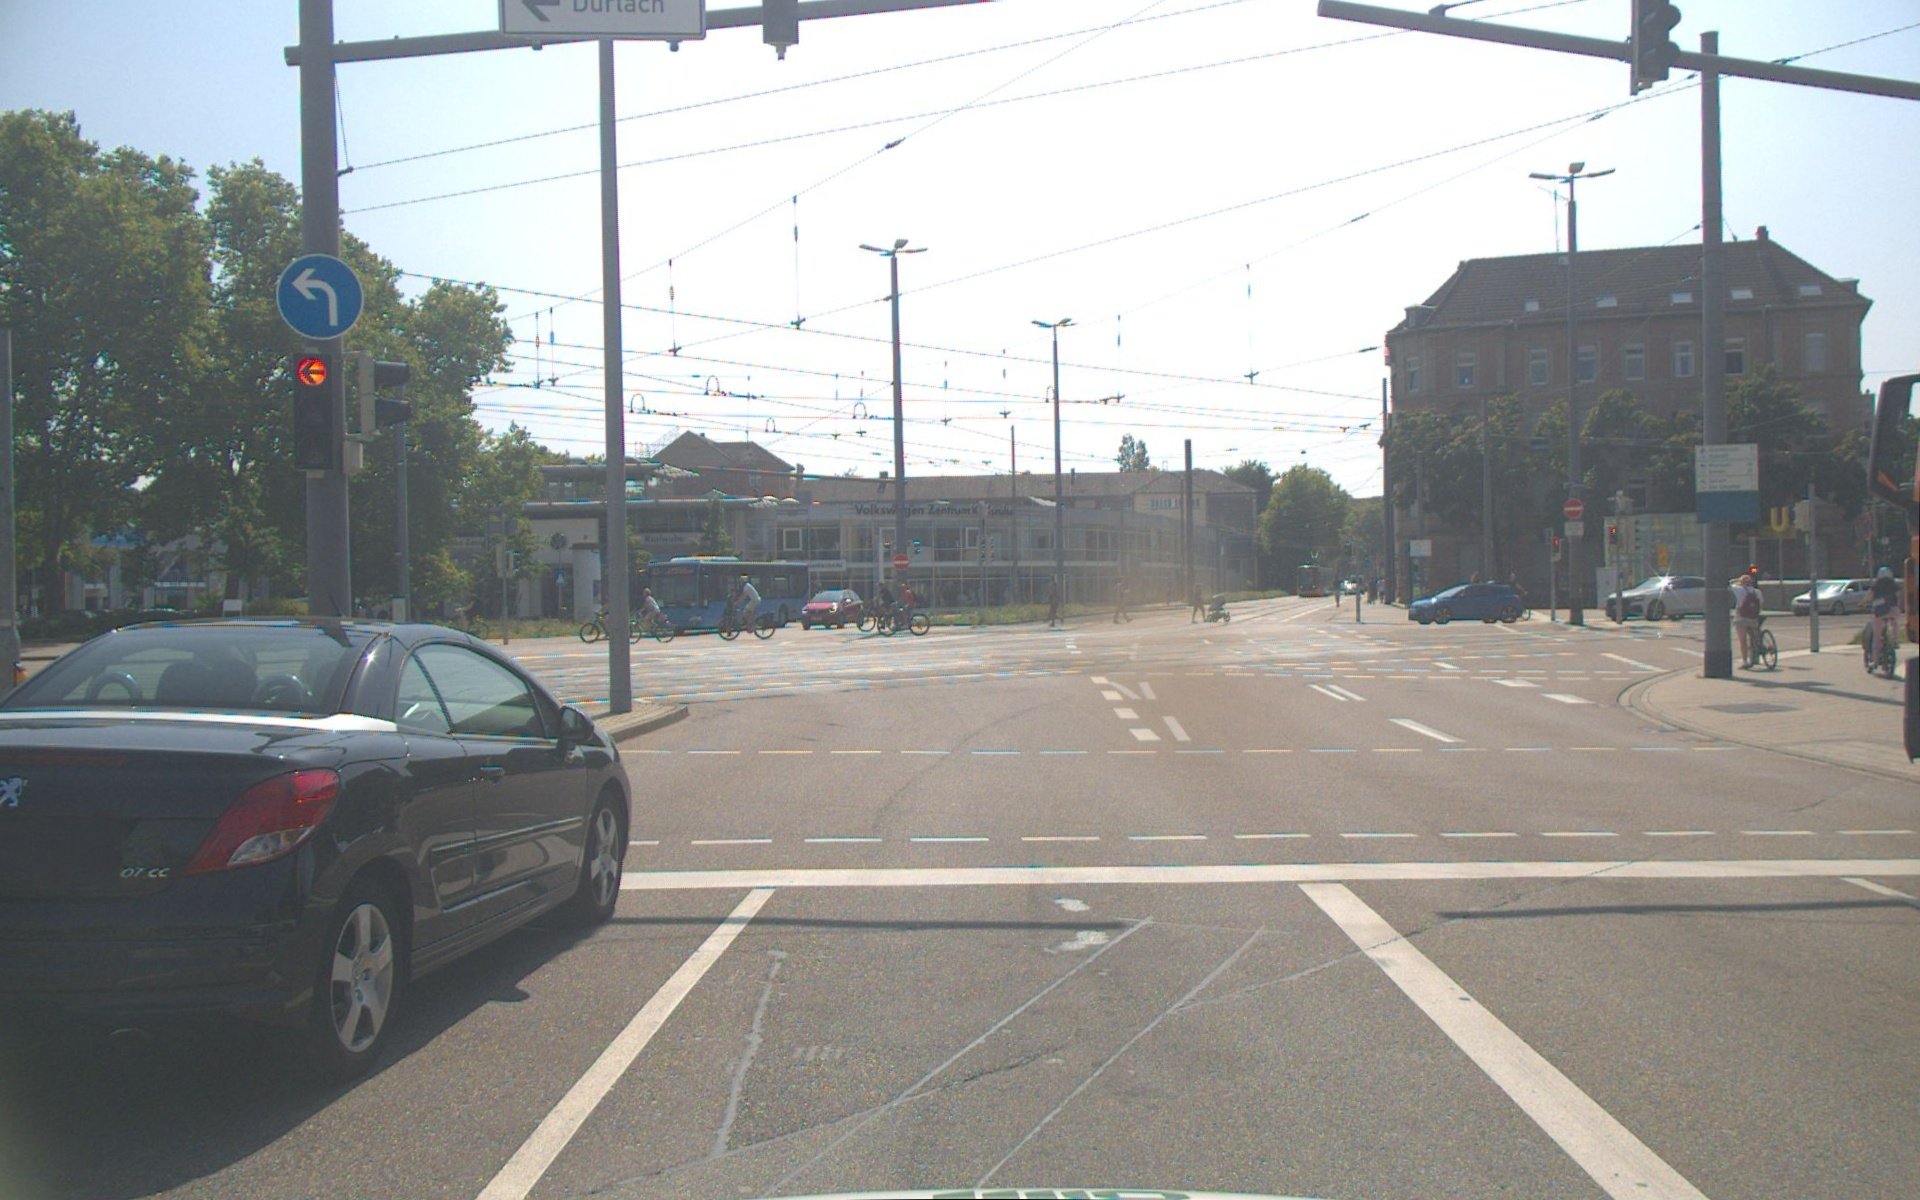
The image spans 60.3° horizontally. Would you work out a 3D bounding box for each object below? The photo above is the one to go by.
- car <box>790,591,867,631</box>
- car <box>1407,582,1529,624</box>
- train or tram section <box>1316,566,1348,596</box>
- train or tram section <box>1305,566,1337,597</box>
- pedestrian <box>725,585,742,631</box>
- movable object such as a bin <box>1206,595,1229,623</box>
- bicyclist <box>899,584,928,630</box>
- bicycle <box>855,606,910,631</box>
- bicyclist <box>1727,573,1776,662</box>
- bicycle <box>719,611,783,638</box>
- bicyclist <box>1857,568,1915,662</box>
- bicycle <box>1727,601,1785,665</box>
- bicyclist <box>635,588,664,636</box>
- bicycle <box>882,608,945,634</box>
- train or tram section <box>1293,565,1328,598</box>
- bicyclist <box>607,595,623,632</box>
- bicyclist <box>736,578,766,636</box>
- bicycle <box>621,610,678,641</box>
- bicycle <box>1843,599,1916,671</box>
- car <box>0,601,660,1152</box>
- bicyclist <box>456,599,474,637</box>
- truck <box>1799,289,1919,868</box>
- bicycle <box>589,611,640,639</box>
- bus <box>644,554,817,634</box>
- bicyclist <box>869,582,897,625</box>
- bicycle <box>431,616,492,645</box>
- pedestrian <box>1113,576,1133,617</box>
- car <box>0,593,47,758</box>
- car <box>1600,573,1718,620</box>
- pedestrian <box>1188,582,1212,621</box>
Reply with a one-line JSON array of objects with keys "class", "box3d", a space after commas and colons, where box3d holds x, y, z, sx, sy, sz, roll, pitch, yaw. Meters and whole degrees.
[{"class": "car", "box3d": [-5.411, 0.433, 68.526, 1.713, 1.579, 4.002, -1, 0, 18]}, {"class": "car", "box3d": [18.242, 0.114, 59.451, 3.912, 1.418, 1.593, -1, 0, -8]}, {"class": "train or tram section", "box3d": [46.435, -2.411, 206.194, 2.534, 3.578, 12.977, -1, 0, 19]}, {"class": "train or tram section", "box3d": [42.741, -2.209, 195.564, 2.534, 3.578, 9.661, -1, 0, 20]}, {"class": "pedestrian", "box3d": [-8.429, 0.300, 61.469, 0.544, 1.713, 0.452, -1, 0, -18]}, {"class": "movable object such as a bin", "box3d": [10.575, 0.369, 67.912, 0.798, 1.096, 0.510, -1, 0, -10]}, {"class": "bicyclist", "box3d": [-1.535, 0.235, 54.871, 0.856, 1.509, 0.496, -1, 0, -13]}, {"class": "bicycle", "box3d": [-2.738, 0.650, 58.375, 1.827, 0.816, 0.605, -1, 0, -18]}, {"class": "bicyclist", "box3d": [13.955, 0.296, 29.172, 0.614, 1.544, 0.712, -1, 0, 13]}, {"class": "bicycle", "box3d": [-6.718, 0.786, 53.138, 2.012, 0.816, 0.478, -1, 0, -12]}, {"class": "bicyclist", "box3d": [14.194, 0.223, 25.363, 0.519, 1.417, 0.894, -1, 0, 13]}, {"class": "bicycle", "box3d": [13.875, 0.559, 28.861, 0.525, 1.073, 1.655, -1, 0, 13]}, {"class": "bicyclist", "box3d": [-10.068, 0.375, 53.606, 0.894, 1.534, 0.557, -1, 0, -12]}, {"class": "bicycle", "box3d": [-1.535, 0.701, 54.854, 2.012, 0.816, 0.478, -1, 0, -12]}, {"class": "train or tram section", "box3d": [39.388, -2.043, 185.762, 2.534, 3.578, 10.902, -1, 0, 19]}, {"class": "bicyclist", "box3d": [-12.390, 0.467, 59.379, 0.534, 1.316, 0.557, -1, 0, -11]}, {"class": "bicyclist", "box3d": [-6.712, 0.217, 53.144, 0.907, 1.839, 0.496, -1, 0, -12]}, {"class": "bicycle", "box3d": [-10.064, 0.835, 53.610, 1.781, 0.958, 0.566, -1, 0, -11]}, {"class": "bicycle", "box3d": [14.291, 0.525, 25.734, 0.525, 1.073, 1.655, -1, 0, 13]}, {"class": "car", "box3d": [-2.489, 0.733, 6.325, 1.728, 1.412, 3.783, 1, 0, 4]}, {"class": "bicyclist", "box3d": [-17.415, 0.635, 58.164, 0.534, 1.316, 0.557, -1, 0, -11]}, {"class": "truck", "box3d": [6.428, -0.116, 7.031, 2.440, 3.189, 6.863, -1, 0, 2]}, {"class": "bicycle", "box3d": [-12.404, 0.897, 59.430, 1.782, 0.958, 0.415, -1, 0, -12]}, {"class": "bus", "box3d": [-9.686, -0.309, 71.763, 2.508, 3.136, 12.030, -1, 0, 17]}, {"class": "bicyclist", "box3d": [-2.735, 0.114, 58.384, 0.857, 1.501, 0.543, -1, 0, -17]}, {"class": "bicycle", "box3d": [-17.535, 1.056, 58.204, 1.996, 0.958, 0.466, -1, 0, -12]}, {"class": "pedestrian", "box3d": [6.600, -0.140, 67.085, 0.686, 1.631, 0.572, -1, 0, -7]}, {"class": "car", "box3d": [-10.762, 0.775, 14.687, 1.951, 1.612, 4.719, -1, 0, 14]}, {"class": "car", "box3d": [26.123, -0.130, 61.789, 4.271, 1.646, 1.739, -1, 0, -28]}, {"class": "pedestrian", "box3d": [9.833, 0.051, 67.826, 0.834, 1.572, 0.528, -1, 0, -8]}]
